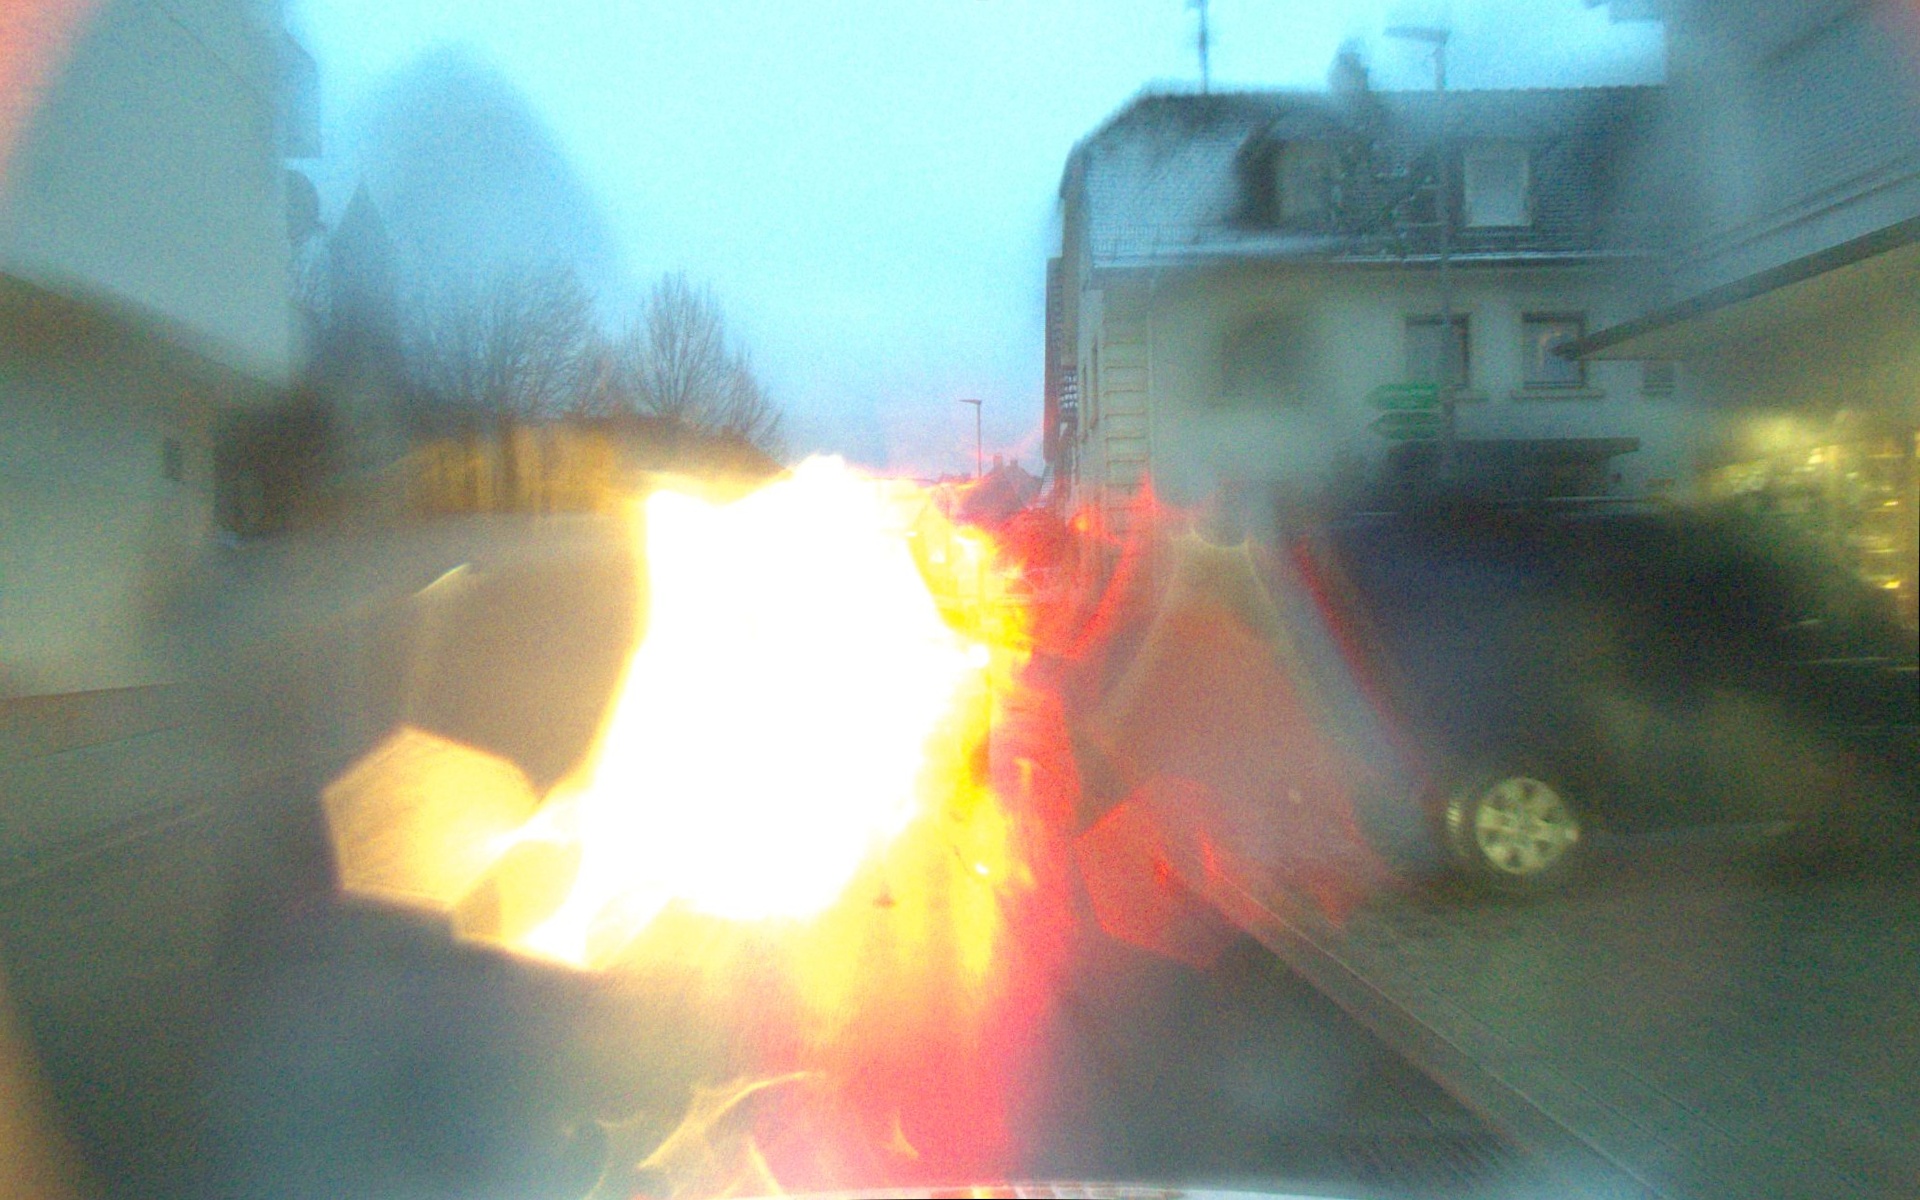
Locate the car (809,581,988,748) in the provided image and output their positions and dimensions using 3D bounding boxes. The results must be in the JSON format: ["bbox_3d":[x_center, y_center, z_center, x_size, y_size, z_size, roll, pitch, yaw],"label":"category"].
[{"bbox_3d":[-0.642,0.577,16.582,1.605,1.507,3.377,0,0,-3],"label":"car"}]

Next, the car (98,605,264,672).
[{"bbox_3d":[-21.418,1.039,45.495,3.902,1.760,1.820,0,0,16],"label":"car"}]

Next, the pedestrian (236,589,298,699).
[{"bbox_3d":[-9.515,0.592,22.704,0.644,1.484,0.641,0,0,-40],"label":"pedestrian"}]

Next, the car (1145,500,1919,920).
[{"bbox_3d":[3.419,0.449,8.660,4.517,1.806,1.942,-2,1,-8],"label":"car"}]

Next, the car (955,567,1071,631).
[{"bbox_3d":[1.891,-0.051,58.459,4.011,2.200,1.914,0,0,3],"label":"car"}]

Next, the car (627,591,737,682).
[{"bbox_3d":[-5.005,0.617,30.101,1.605,1.562,3.404,0,0,-3],"label":"car"}]

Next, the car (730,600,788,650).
[{"bbox_3d":[-7.059,0.850,58.468,1.775,1.624,4.396,-1,1,-4],"label":"car"}]

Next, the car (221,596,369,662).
[{"bbox_3d":[-20.423,0.877,50.822,3.902,1.944,1.820,0,0,16],"label":"car"}]

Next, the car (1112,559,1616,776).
[{"bbox_3d":[3.358,0.523,14.078,3.798,1.607,1.679,-2,0,-9],"label":"car"}]

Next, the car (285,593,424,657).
[{"bbox_3d":[-19.663,0.795,53.745,3.902,2.033,1.820,0,0,16],"label":"car"}]

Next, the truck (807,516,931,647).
[{"bbox_3d":[-2.574,-0.486,44.192,2.957,3.183,7.991,0,0,-6],"label":"truck"}]

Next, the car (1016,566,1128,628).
[{"bbox_3d":[4.123,-0.118,60.897,4.011,2.189,1.914,0,0,4],"label":"car"}]

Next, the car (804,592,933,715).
[{"bbox_3d":[-1.222,0.657,22.238,1.605,1.507,3.269,0,1,-3],"label":"car"}]
